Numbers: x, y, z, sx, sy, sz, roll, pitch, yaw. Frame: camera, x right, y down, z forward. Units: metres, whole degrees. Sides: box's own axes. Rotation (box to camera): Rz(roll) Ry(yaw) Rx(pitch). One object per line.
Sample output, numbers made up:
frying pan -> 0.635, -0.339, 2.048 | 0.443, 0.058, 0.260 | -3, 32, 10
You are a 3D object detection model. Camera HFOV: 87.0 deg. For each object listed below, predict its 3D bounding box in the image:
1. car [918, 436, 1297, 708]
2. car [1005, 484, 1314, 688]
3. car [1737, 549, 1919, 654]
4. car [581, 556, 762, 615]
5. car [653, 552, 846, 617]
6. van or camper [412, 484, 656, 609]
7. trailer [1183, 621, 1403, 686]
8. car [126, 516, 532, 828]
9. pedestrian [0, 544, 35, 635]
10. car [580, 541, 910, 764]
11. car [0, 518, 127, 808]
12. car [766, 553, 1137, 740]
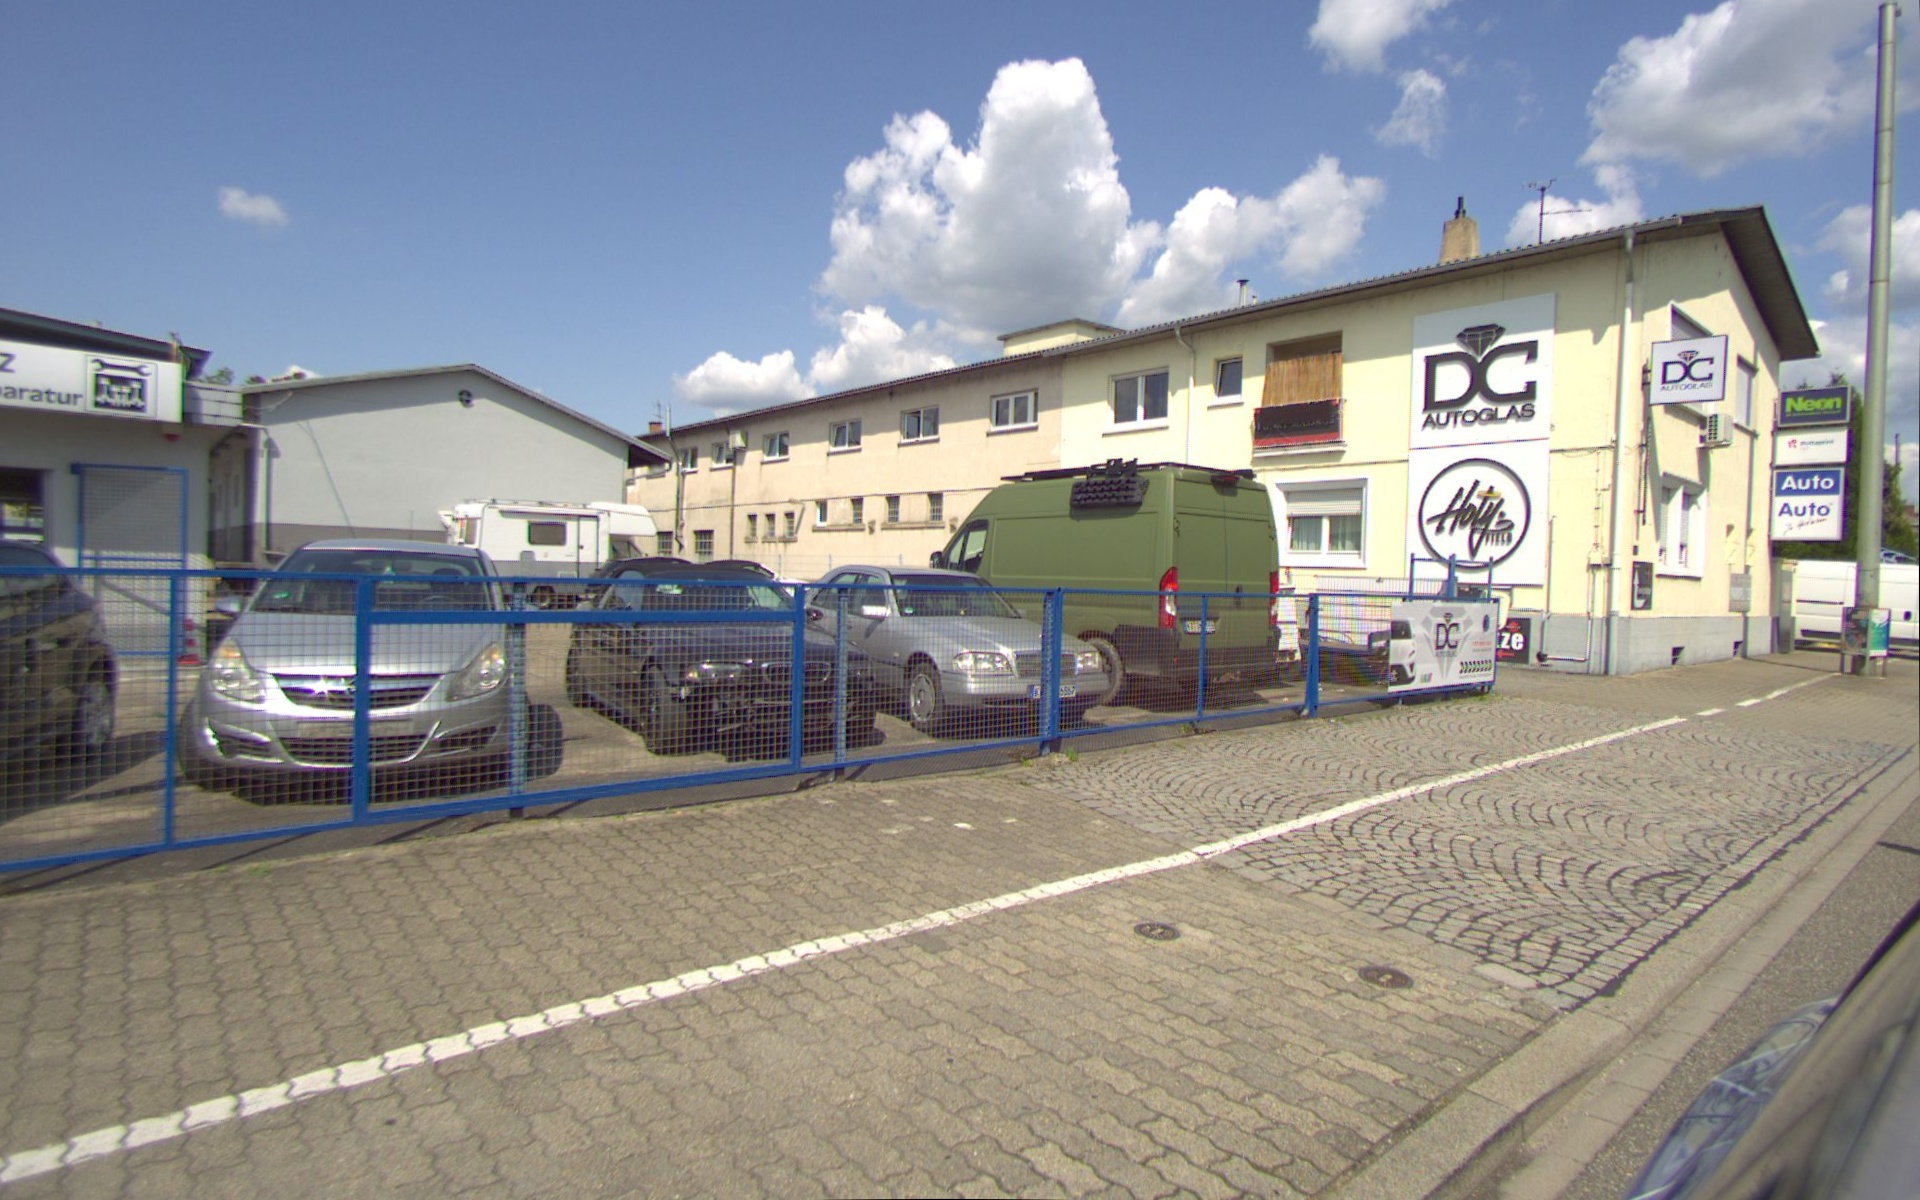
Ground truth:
car -> 1.597, -0.349, 12.253 | 2.075, 2.675, 4.208 | 1, 2, -39
car -> 2.623, -0.246, 14.217 | 1.557, 2.436, 4.208 | 1, 2, -39
car -> 24.183, 0.043, 26.420 | 2.057, 2.493, 5.831 | 0, 4, -43
car -> -7.297, -0.356, 25.808 | 4.112, 1.378, 1.645 | 0, 2, -41
car -> -4.835, -0.346, 23.545 | 4.112, 1.378, 1.645 | 0, 2, -41
van or camper -> -11.294, -1.321, 27.108 | 5.556, 3.002, 2.272 | 0, 2, -42
trailer -> 4.759, 0.725, 14.648 | 1.307, 0.674, 2.730 | 0, 2, -42
car -> -3.889, 0.282, 6.838 | 1.736, 1.470, 3.778 | 1, 2, -24
pedestrian -> -13.152, -0.154, 13.879 | 0.652, 1.224, 0.566 | 1, 1, -39
car -> -2.119, 0.275, 8.894 | 1.737, 1.470, 4.128 | 1, 2, -28
car -> -5.623, 0.306, 4.868 | 1.606, 1.470, 3.700 | 1, 2, -25
car -> -0.329, 0.288, 10.200 | 1.679, 1.470, 4.292 | 1, 2, -33
